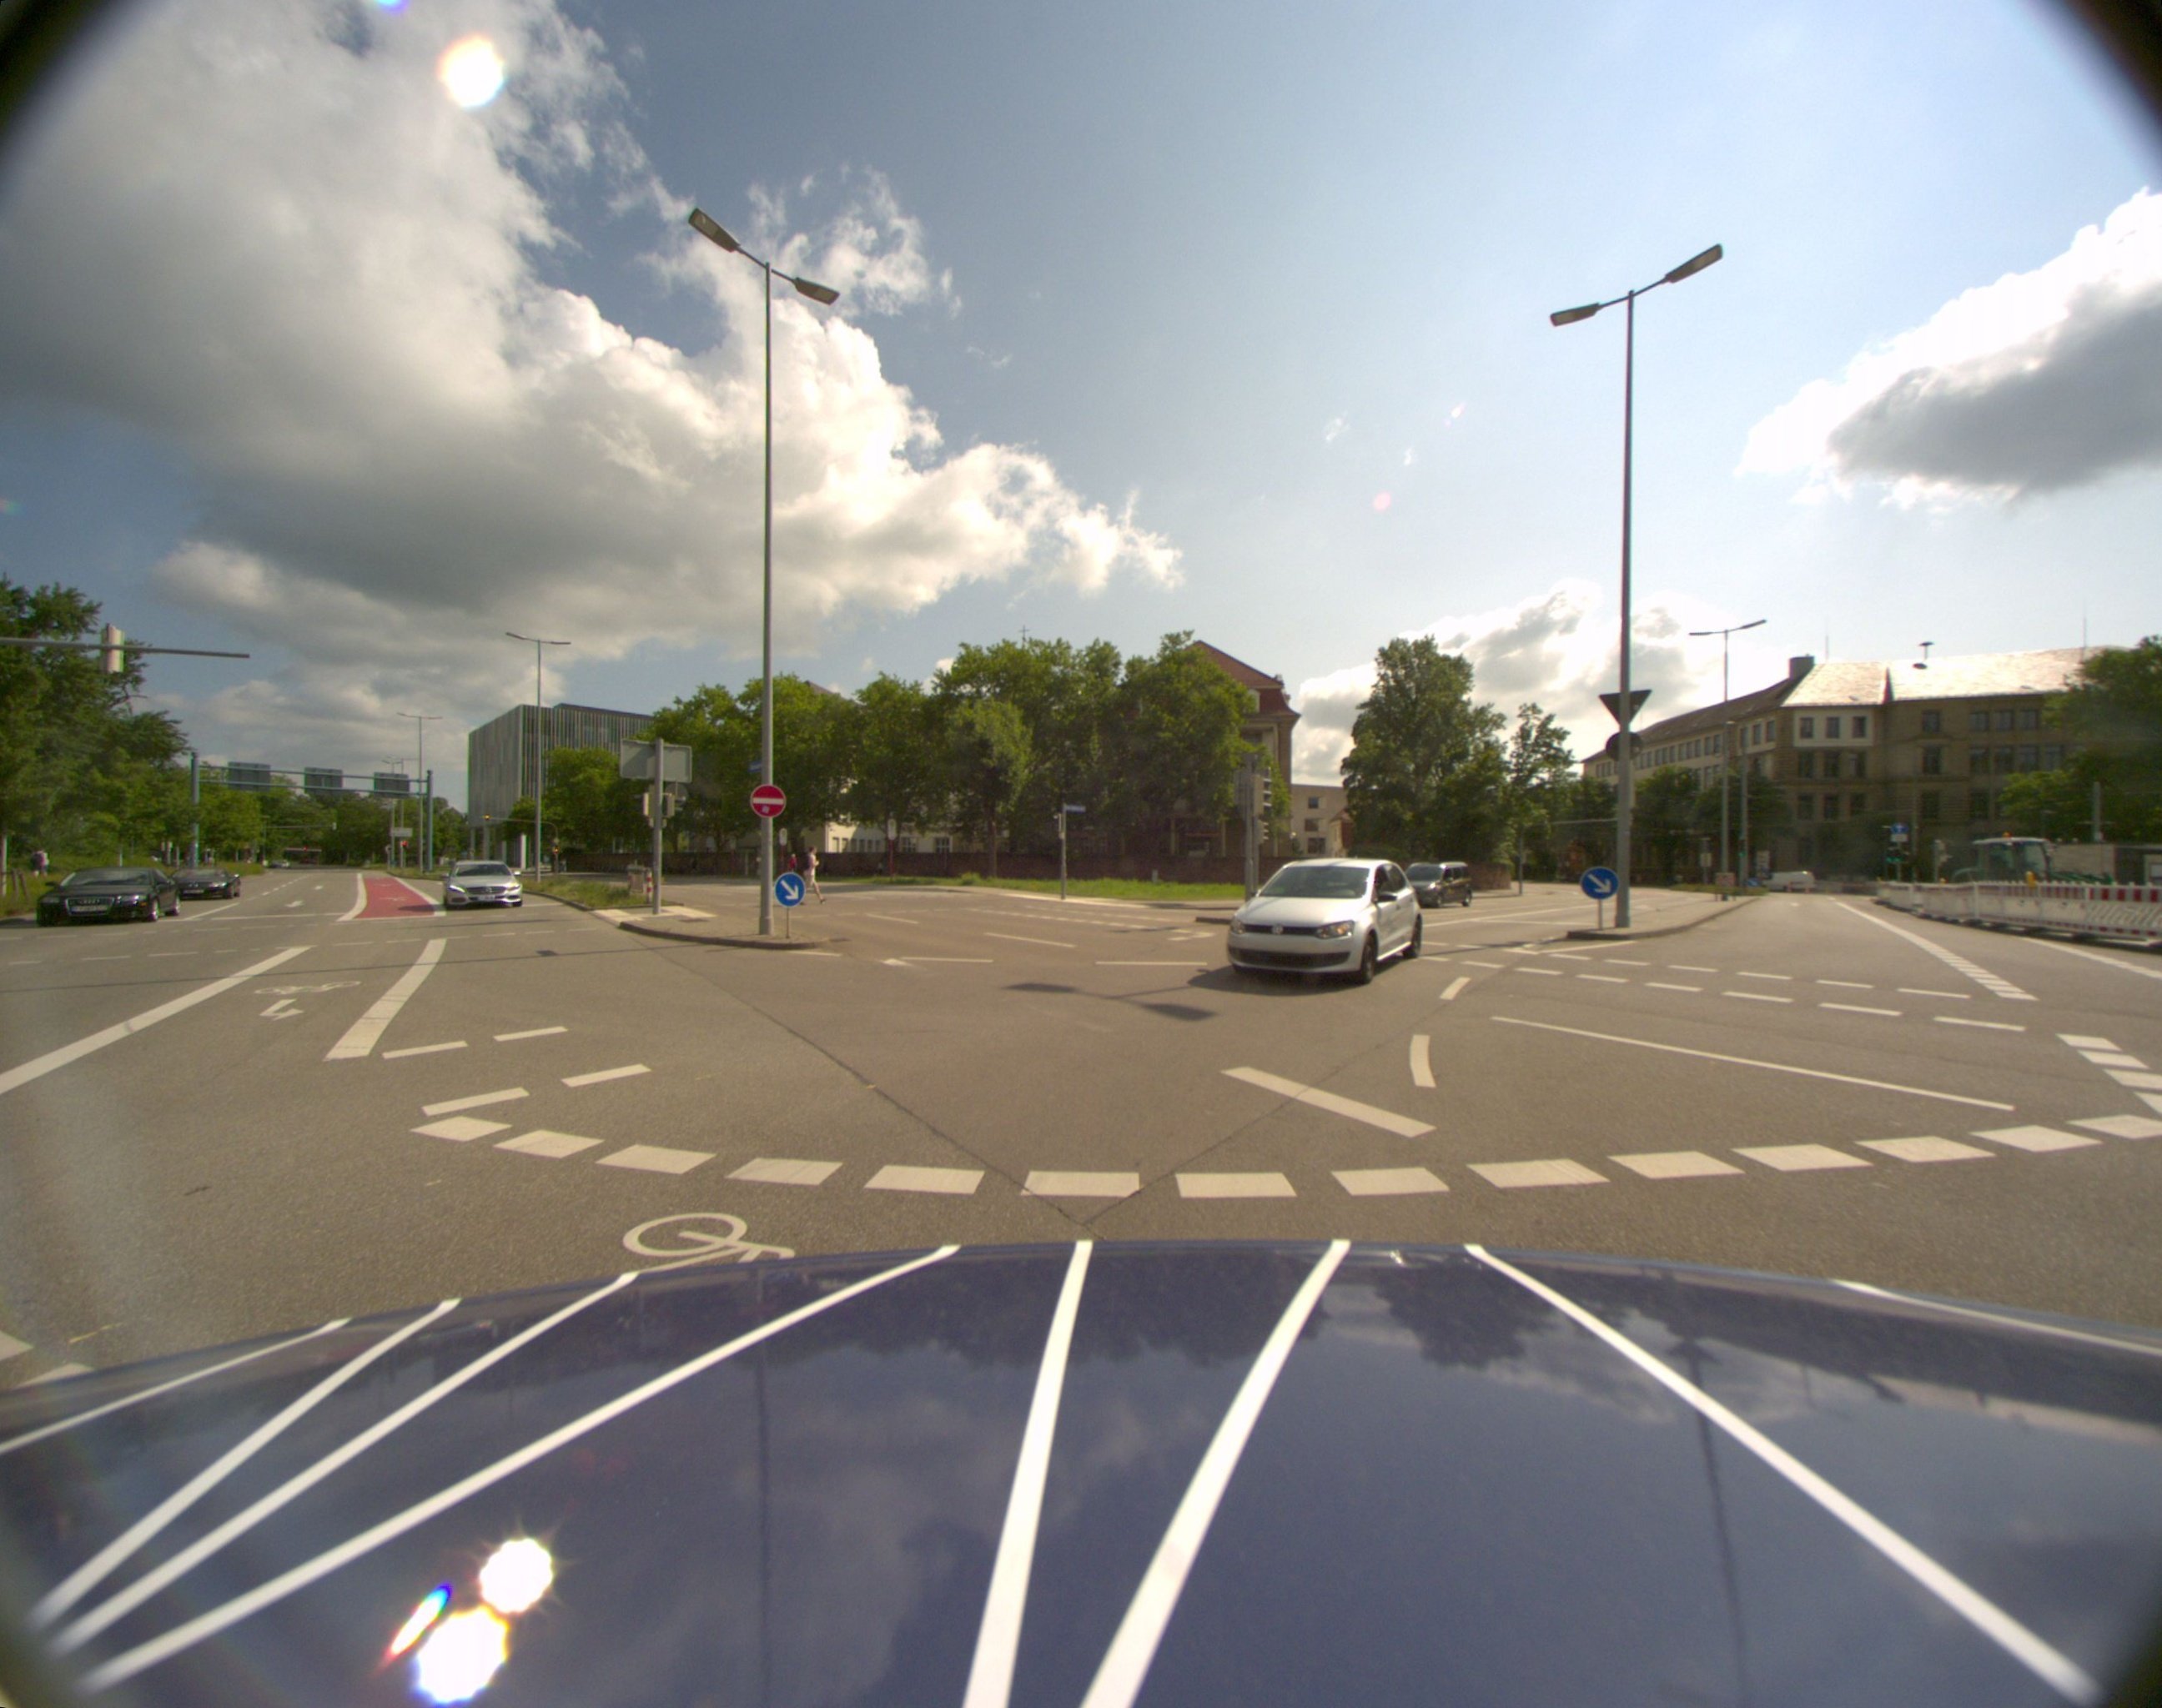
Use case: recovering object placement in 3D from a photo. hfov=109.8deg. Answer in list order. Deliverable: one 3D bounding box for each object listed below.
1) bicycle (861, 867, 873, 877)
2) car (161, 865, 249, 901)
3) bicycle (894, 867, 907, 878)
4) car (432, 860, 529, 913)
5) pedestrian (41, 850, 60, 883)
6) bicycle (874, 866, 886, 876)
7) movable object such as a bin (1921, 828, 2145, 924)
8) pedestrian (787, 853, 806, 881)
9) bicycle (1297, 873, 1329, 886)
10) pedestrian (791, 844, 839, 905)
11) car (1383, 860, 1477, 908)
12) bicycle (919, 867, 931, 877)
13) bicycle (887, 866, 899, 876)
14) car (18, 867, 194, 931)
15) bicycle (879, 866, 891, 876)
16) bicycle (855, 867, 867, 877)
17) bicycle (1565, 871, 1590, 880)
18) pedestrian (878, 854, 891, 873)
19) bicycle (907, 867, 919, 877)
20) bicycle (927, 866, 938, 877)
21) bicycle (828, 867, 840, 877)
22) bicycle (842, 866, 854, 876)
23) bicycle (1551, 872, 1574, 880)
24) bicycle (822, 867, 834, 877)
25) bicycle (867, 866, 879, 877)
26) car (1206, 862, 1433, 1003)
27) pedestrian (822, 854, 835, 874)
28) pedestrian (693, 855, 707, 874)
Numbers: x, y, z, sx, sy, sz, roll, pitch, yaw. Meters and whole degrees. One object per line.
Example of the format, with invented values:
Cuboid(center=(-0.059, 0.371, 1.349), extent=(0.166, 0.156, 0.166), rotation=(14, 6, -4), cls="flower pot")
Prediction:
Cuboid(center=(-18.238, 1.503, 64.707), extent=(0.481, 0.843, 0.975), rotation=(1, 0, 22), cls="bicycle")
Cuboid(center=(-34.492, 1.100, 30.024), extent=(1.802, 1.265, 3.988), rotation=(1, 0, -42), cls="car")
Cuboid(center=(-15.052, 1.526, 63.378), extent=(0.498, 0.843, 1.076), rotation=(1, 0, 22), cls="bicycle")
Cuboid(center=(-19.110, 0.944, 24.090), extent=(2.066, 1.434, 4.766), rotation=(-2, 2, -42), cls="car")
Cuboid(center=(-55.322, 0.686, 40.799), extent=(0.523, 1.757, 0.543), rotation=(-2, -2, 40), cls="pedestrian")
Cuboid(center=(-16.991, 1.466, 64.248), extent=(0.481, 0.843, 0.975), rotation=(1, 0, 22), cls="bicycle")
Cuboid(center=(31.976, 0.696, 25.781), extent=(1.998, 2.932, 4.451), rotation=(1, 0, 0), cls="movable object such as a bin")
Cuboid(center=(-18.170, 0.848, 48.538), extent=(0.963, 1.770, 0.751), rotation=(1, 1, 33), cls="pedestrian")
Cuboid(center=(17.232, 1.904, 56.494), extent=(2.060, 0.856, 0.858), rotation=(1, 2, -3), cls="bicycle")
Cuboid(center=(-8.240, 0.640, 23.542), extent=(0.697, 1.845, 1.183), rotation=(-3, -3, 31), cls="pedestrian")
Cuboid(center=(13.915, 1.171, 30.182), extent=(1.849, 1.774, 4.682), rotation=(-1, -2, 45), cls="car")
Cuboid(center=(-12.845, 1.470, 62.505), extent=(0.481, 0.843, 0.975), rotation=(1, 0, 22), cls="bicycle")
Cuboid(center=(-15.787, 1.431, 63.760), extent=(0.481, 0.843, 0.975), rotation=(1, 0, 22), cls="bicycle")
Cuboid(center=(-24.344, 1.047, 19.165), extent=(2.005, 1.369, 4.148), rotation=(2, -1, -42), cls="car")
Cuboid(center=(-16.488, 1.448, 63.988), extent=(0.481, 0.843, 0.975), rotation=(1, 0, 22), cls="bicycle")
Cuboid(center=(-18.760, 1.517, 64.894), extent=(0.481, 0.843, 0.975), rotation=(1, 0, 22), cls="bicycle")
Cuboid(center=(73.700, 3.233, 112.772), extent=(1.052, 1.200, 2.887), rotation=(-3, 2, -39), cls="bicycle")
Cuboid(center=(-16.367, 0.802, 63.380), extent=(0.722, 1.525, 0.727), rotation=(1, 0, 22), cls="pedestrian")
Cuboid(center=(-13.946, 1.483, 63.017), extent=(0.481, 0.843, 0.975), rotation=(1, 0, 22), cls="bicycle")
Cuboid(center=(-12.185, 1.433, 62.325), extent=(0.481, 0.843, 0.975), rotation=(1, 0, 22), cls="bicycle")
Cuboid(center=(-21.458, 1.530, 65.996), extent=(0.481, 0.843, 0.975), rotation=(1, 0, 22), cls="bicycle")
Cuboid(center=(-20.022, 1.487, 65.393), extent=(0.481, 0.843, 0.975), rotation=(1, 0, 22), cls="bicycle")
Cuboid(center=(73.493, 3.340, 115.994), extent=(1.075, 1.200, 2.887), rotation=(-3, 2, -39), cls="bicycle")
Cuboid(center=(-22.005, 1.544, 66.183), extent=(0.481, 0.843, 0.975), rotation=(1, 0, 22), cls="bicycle")
Cuboid(center=(-17.627, 1.485, 64.484), extent=(0.481, 0.843, 0.975), rotation=(1, 0, 22), cls="bicycle")
Cuboid(center=(3.311, 0.839, 10.006), extent=(1.651, 1.433, 4.014), rotation=(1, 0, 36), cls="car")
Cuboid(center=(-21.319, 0.845, 64.069), extent=(0.741, 1.712, 0.665), rotation=(1, 0, 24), cls="pedestrian")
Cuboid(center=(-35.992, 0.964, 71.755), extent=(0.768, 1.770, 0.888), rotation=(1, 3, 44), cls="pedestrian")
